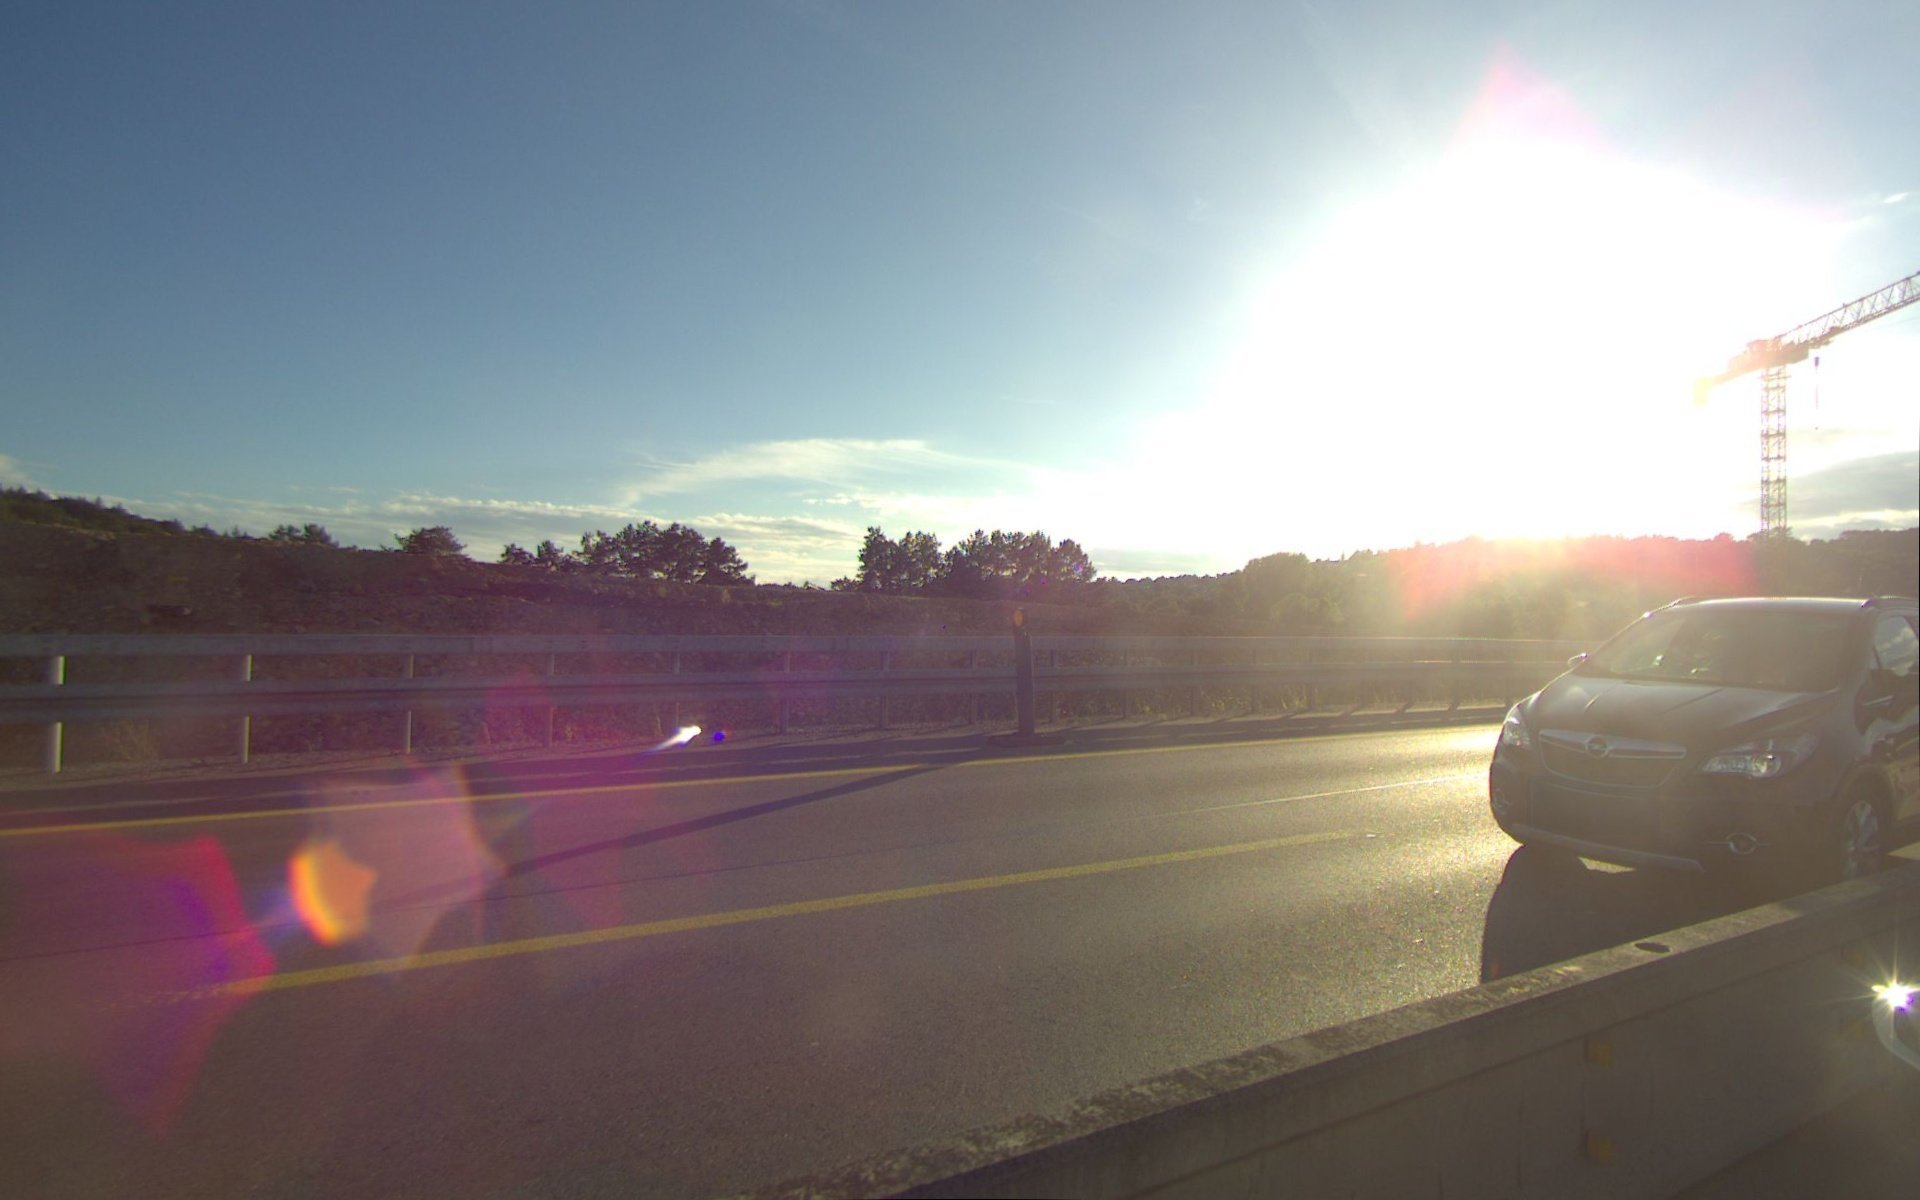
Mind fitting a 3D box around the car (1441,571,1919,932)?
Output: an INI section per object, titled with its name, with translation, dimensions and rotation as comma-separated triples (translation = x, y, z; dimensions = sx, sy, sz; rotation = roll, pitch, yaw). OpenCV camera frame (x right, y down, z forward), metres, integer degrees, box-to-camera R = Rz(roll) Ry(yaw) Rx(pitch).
[car]
translation = 5.350, 0.750, 6.577
dimensions = 4.479, 1.662, 1.817
rotation = 2, 0, -32
